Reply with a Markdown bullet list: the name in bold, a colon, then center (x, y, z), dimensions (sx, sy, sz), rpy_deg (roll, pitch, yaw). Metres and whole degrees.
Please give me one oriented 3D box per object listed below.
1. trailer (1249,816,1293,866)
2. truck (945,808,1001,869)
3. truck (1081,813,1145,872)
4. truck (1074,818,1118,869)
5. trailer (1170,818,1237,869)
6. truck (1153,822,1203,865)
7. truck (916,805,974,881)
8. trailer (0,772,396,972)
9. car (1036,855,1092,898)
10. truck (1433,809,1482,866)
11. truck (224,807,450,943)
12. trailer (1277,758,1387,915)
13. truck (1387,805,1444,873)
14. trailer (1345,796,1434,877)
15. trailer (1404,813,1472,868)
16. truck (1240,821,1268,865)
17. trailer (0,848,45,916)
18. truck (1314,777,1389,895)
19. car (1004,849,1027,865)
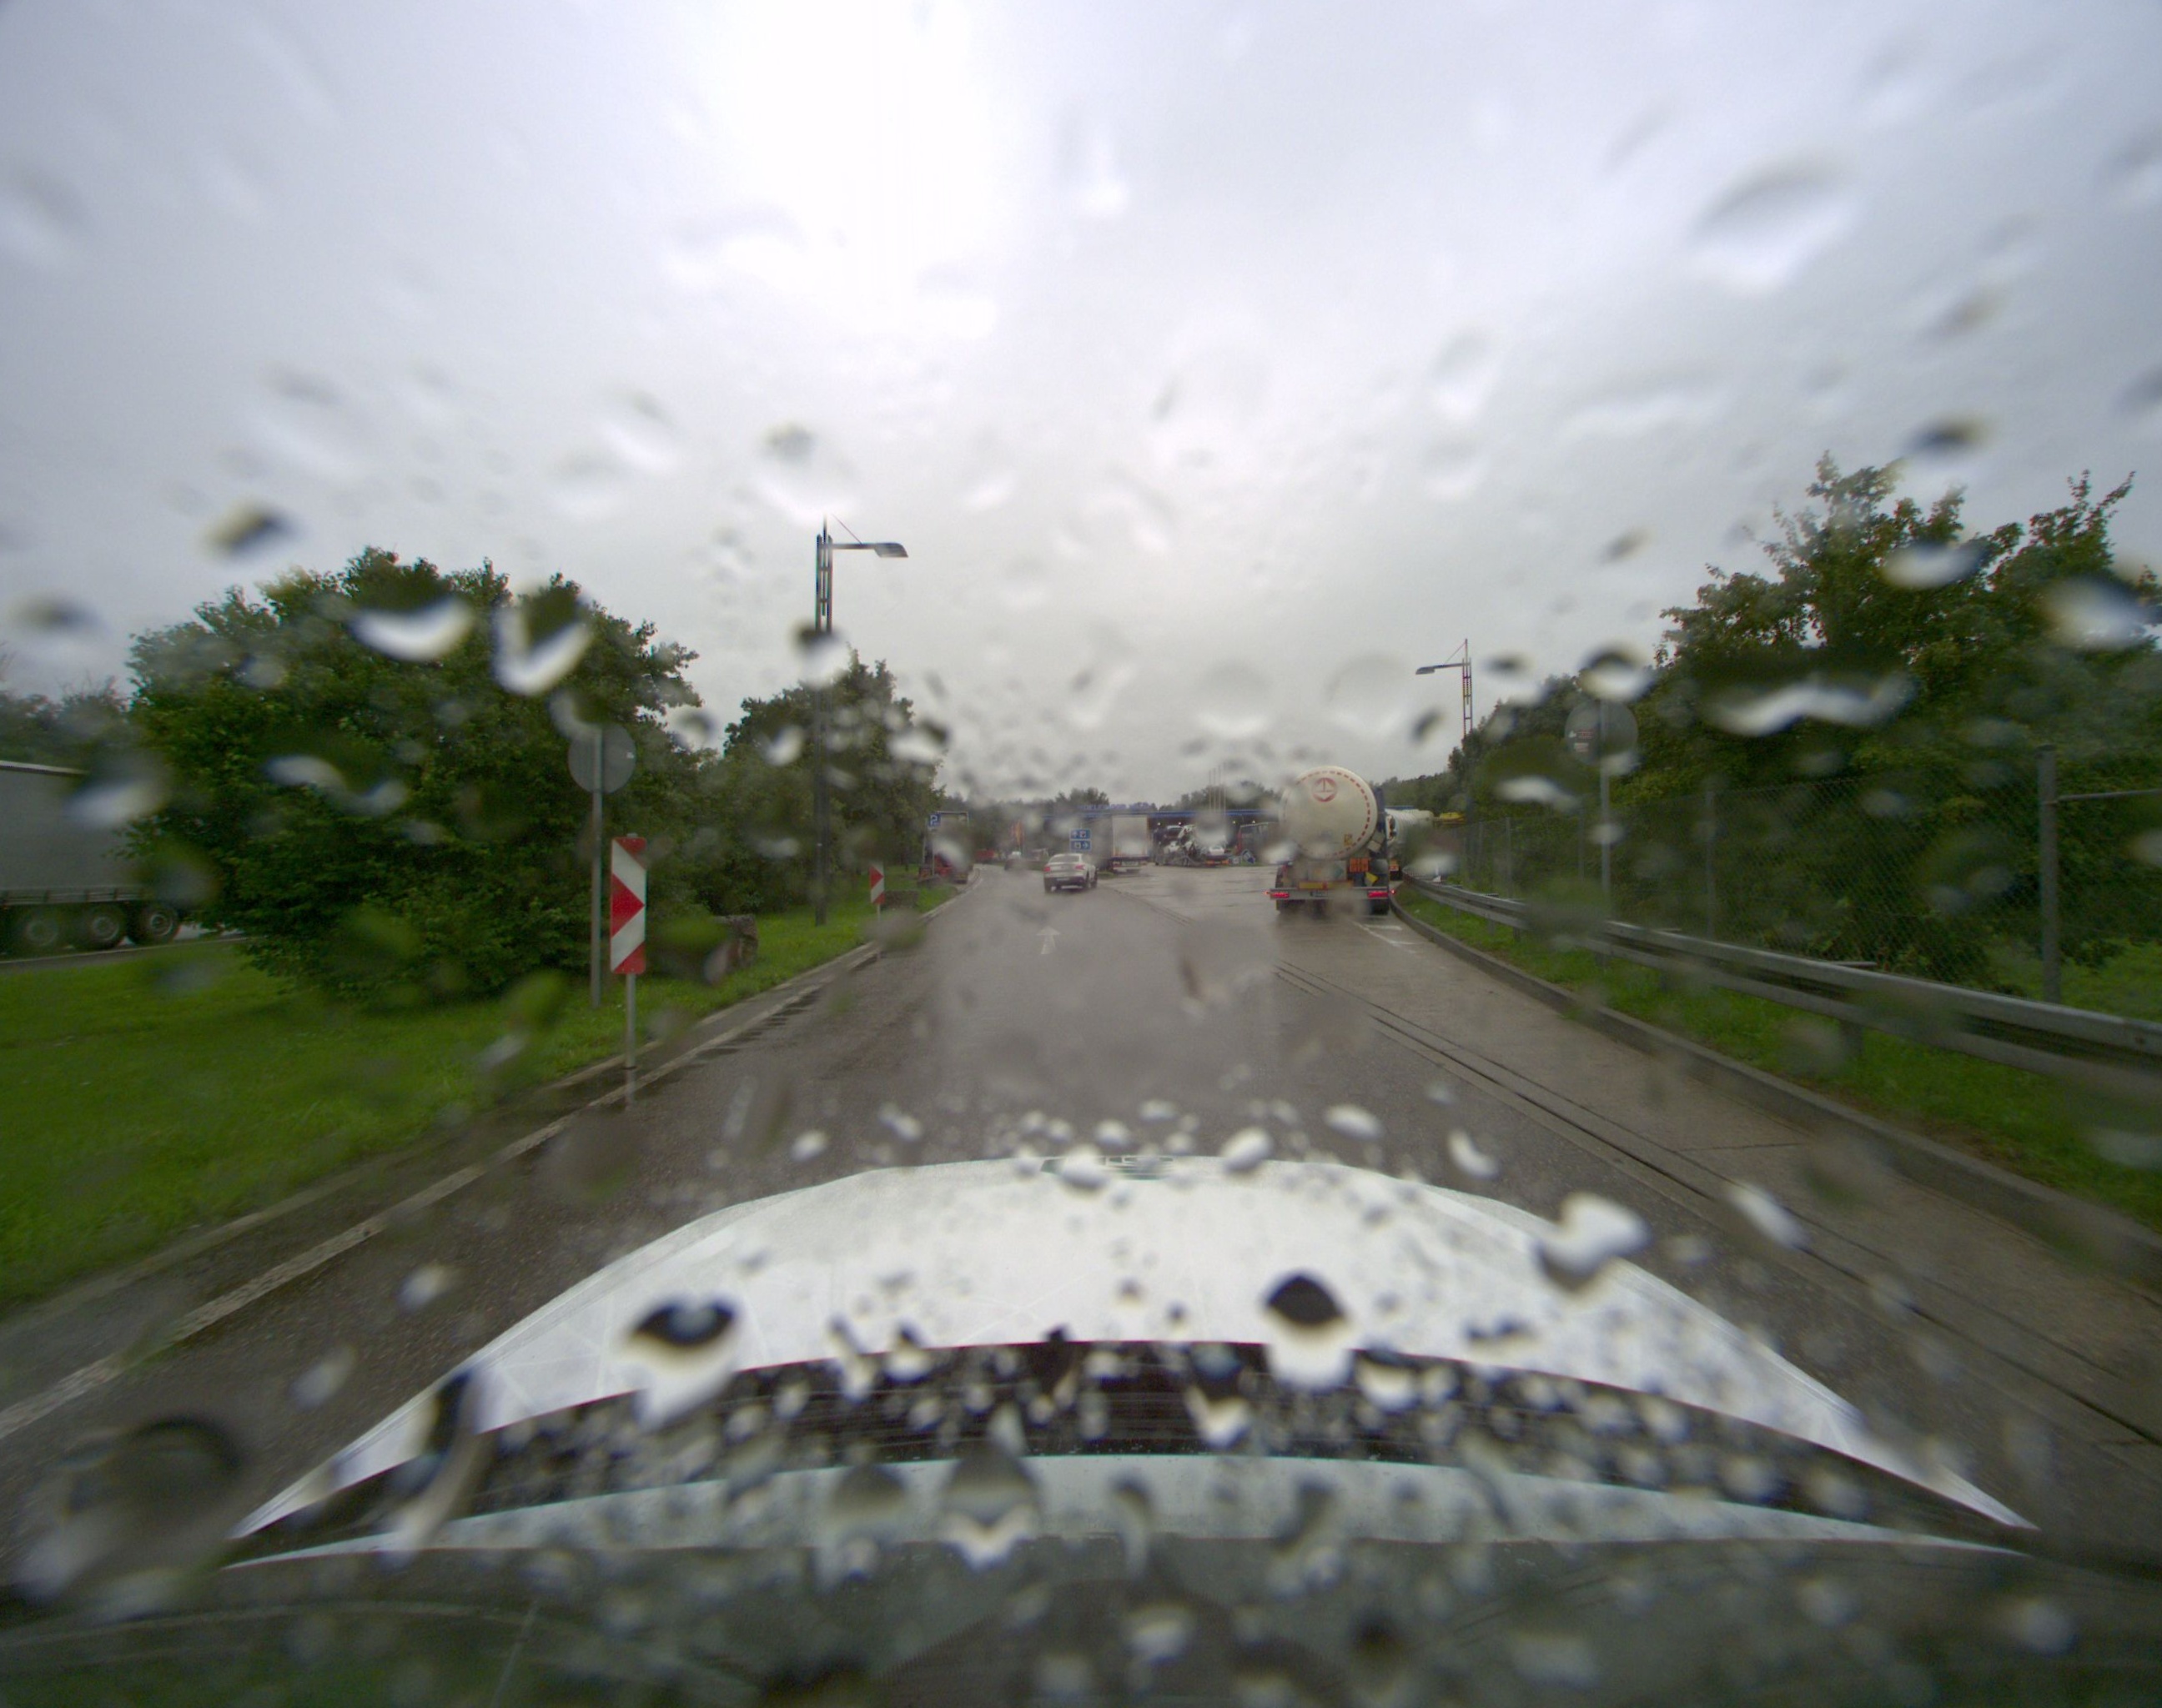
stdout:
- **trailer**: center (18.493, -1.190, 79.939), dimensions (1.987, 4.559, 9.807), rpy_deg (0, 0, 0)
- **truck**: center (-10.408, -1.414, 77.012), dimensions (4.791, 5.305, 11.032), rpy_deg (-1, 0, -10)
- **truck**: center (2.131, -0.780, 60.045), dimensions (2.369, 3.874, 12.419), rpy_deg (-1, 0, -8)
- **truck**: center (1.146, -0.816, 66.686), dimensions (2.369, 3.874, 6.991), rpy_deg (-1, 0, -8)
- **trailer**: center (10.662, -0.920, 72.431), dimensions (3.212, 4.189, 11.505), rpy_deg (0, 0, -6)
- **truck**: center (9.665, -1.040, 82.332), dimensions (3.230, 4.188, 8.426), rpy_deg (0, 0, -6)
- **truck**: center (-7.498, -0.600, 45.454), dimensions (2.913, 3.904, 6.299), rpy_deg (-1, 0, -8)
- **trailer**: center (-23.753, 0.543, 20.731), dimensions (2.895, 3.983, 14.066), rpy_deg (-2, -1, -10)
- **car**: center (-0.625, 0.918, 33.660), dimensions (1.985, 1.679, 4.003), rpy_deg (0, -2, 3)
- **truck**: center (26.437, -1.164, 57.083), dimensions (2.160, 3.828, 4.168), rpy_deg (-1, 0, 38)
- **truck**: center (-25.005, 0.701, 27.836), dimensions (2.873, 4.053, 5.913), rpy_deg (-2, -1, -10)
- **trailer**: center (7.046, -0.371, 21.873), dimensions (1.963, 3.224, 10.376), rpy_deg (-1, 0, 22)
- **truck**: center (18.582, -0.791, 45.066), dimensions (2.125, 3.513, 4.675), rpy_deg (-1, 0, 32)
- **trailer**: center (15.151, -0.789, 39.457), dimensions (2.110, 3.440, 10.318), rpy_deg (-1, 0, 31)
- **trailer**: center (23.457, -0.872, 53.294), dimensions (2.161, 3.392, 7.612), rpy_deg (-1, 0, 38)
- **truck**: center (18.475, -1.154, 87.251), dimensions (1.982, 4.549, 4.794), rpy_deg (0, 0, 0)
- **trailer**: center (-56.242, 1.313, 37.446), dimensions (2.189, 3.497, 13.089), rpy_deg (2, -2, -9)
- **truck**: center (9.076, -0.544, 27.037), dimensions (2.035, 3.531, 4.771), rpy_deg (-1, 0, 22)
- **car**: center (-6.108, 0.299, 76.002), dimensions (1.873, 1.461, 3.998), rpy_deg (0, 0, -1)
